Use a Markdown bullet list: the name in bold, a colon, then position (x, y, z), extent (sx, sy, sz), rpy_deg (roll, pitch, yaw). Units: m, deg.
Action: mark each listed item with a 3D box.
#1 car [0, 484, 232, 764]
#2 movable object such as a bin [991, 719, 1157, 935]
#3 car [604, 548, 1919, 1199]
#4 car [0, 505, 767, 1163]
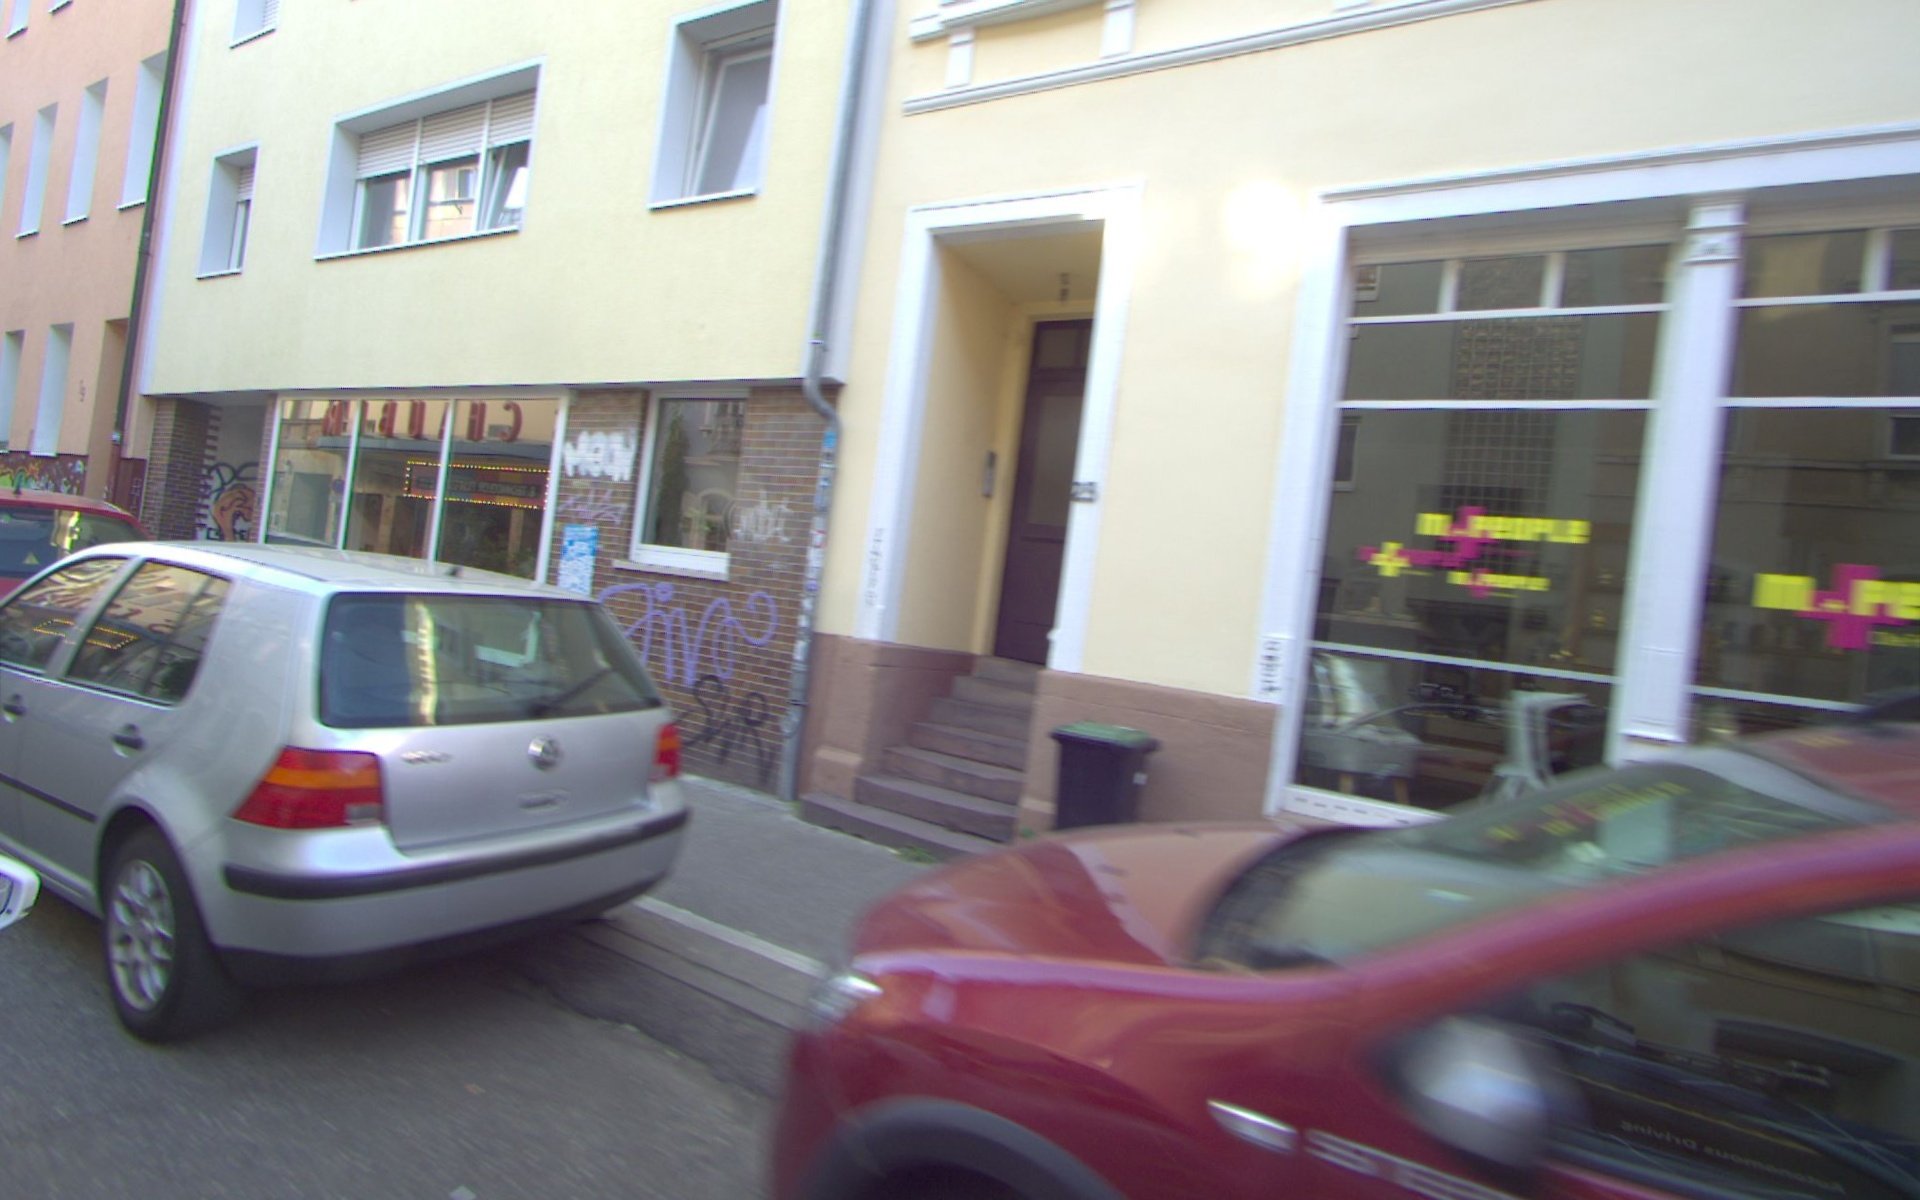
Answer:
- **car**: position (-6.790, -0.041, 6.755), extent (3.915, 1.542, 1.698), rpy_deg (7, 0, 33)
- **movable object such as a bin**: position (0.603, 1.125, 5.199), extent (0.502, 0.946, 0.708), rpy_deg (7, -1, 31)
- **car**: position (1.489, 0.956, 1.650), extent (3.934, 1.570, 1.792), rpy_deg (7, -1, 32)
- **car**: position (-3.007, 0.481, 4.216), extent (4.123, 1.471, 1.690), rpy_deg (7, 0, 31)
